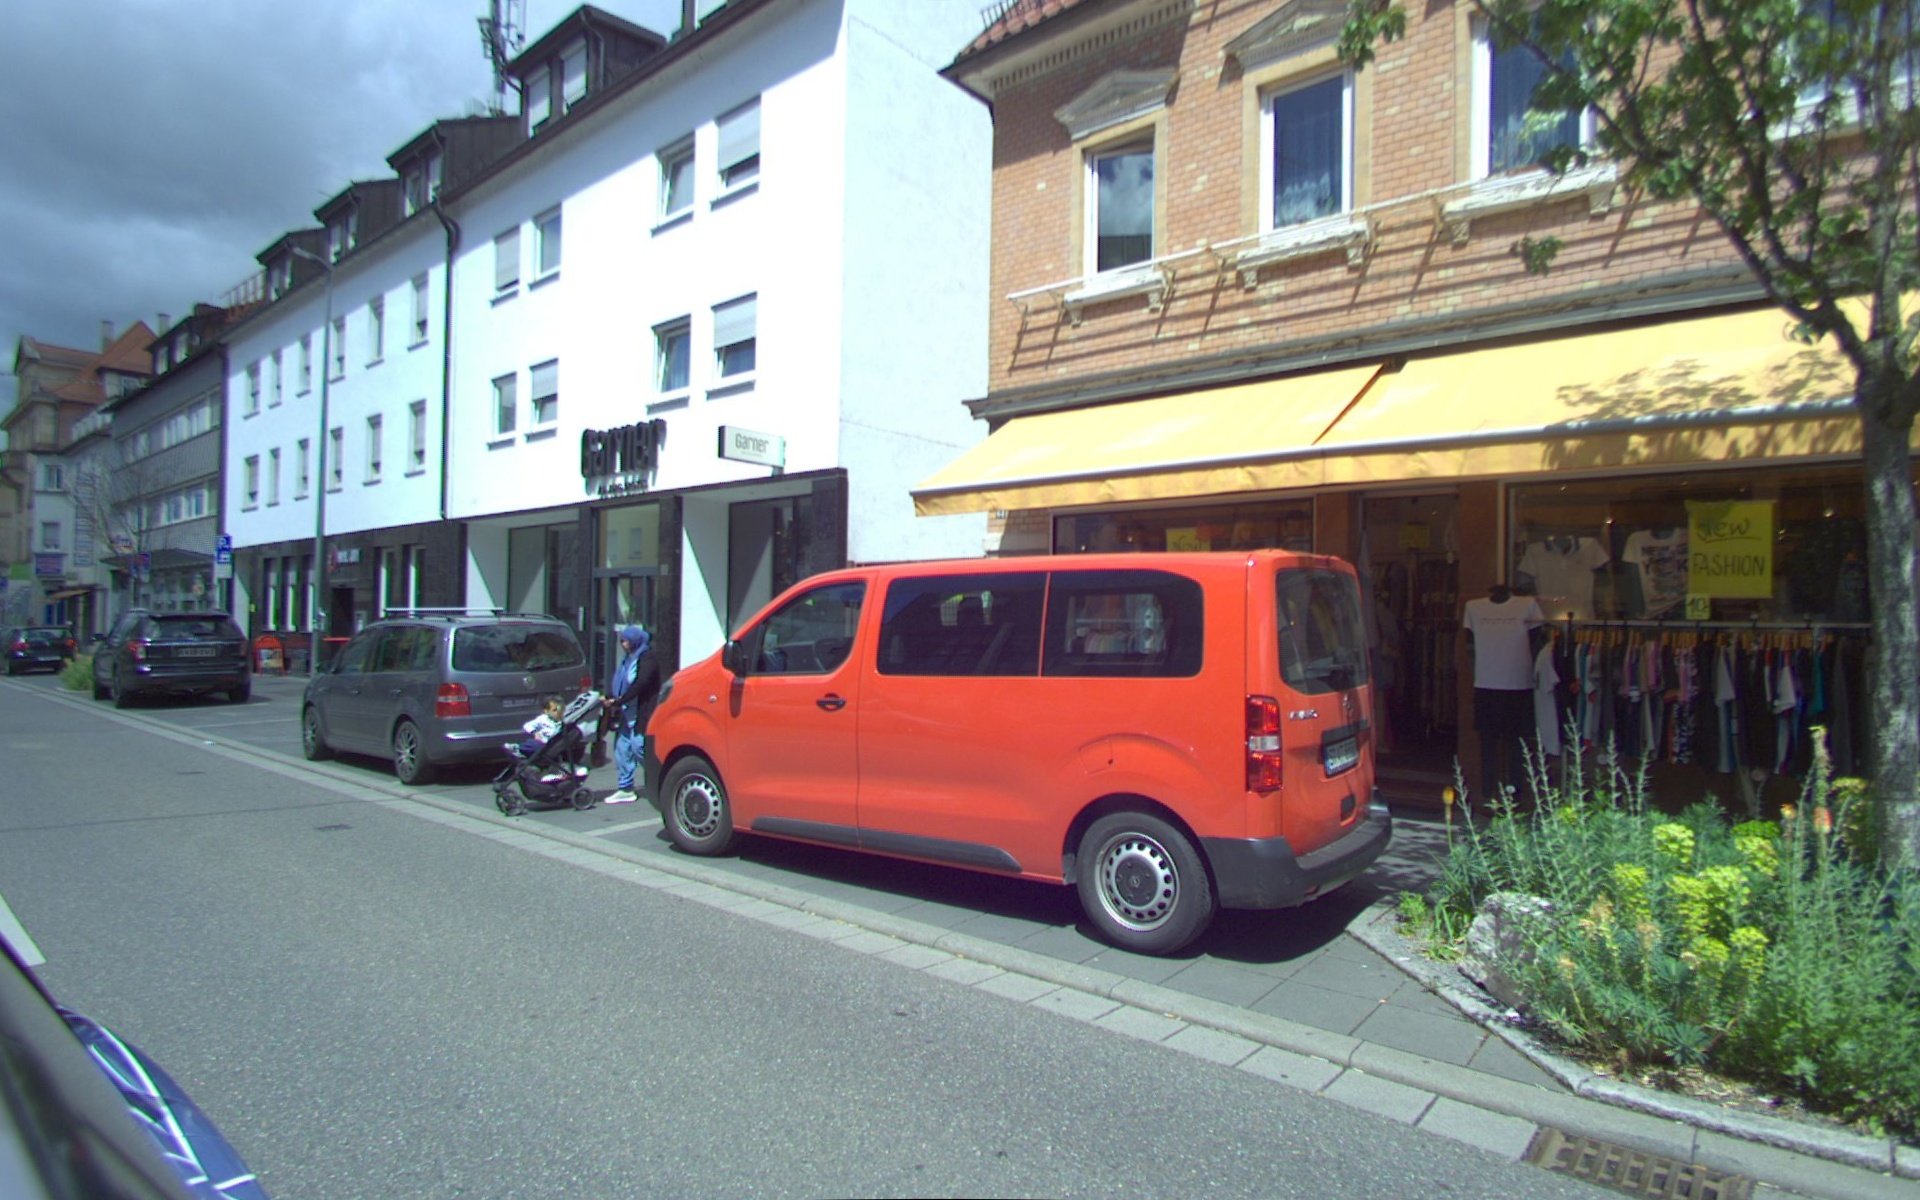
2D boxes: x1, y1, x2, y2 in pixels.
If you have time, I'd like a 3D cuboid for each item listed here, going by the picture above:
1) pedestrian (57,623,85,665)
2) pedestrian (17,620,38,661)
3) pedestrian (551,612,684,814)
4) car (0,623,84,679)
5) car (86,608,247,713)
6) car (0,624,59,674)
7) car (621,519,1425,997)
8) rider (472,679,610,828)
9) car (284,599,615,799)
[{"bbox_3d":[-35.347,1.720,40.236,0.650,1.630,0.725,0,0,36],"label":"pedestrian"},{"bbox_3d":[-40.677,1.754,44.139,0.728,1.770,0.543,0,0,38],"label":"pedestrian"},{"bbox_3d":[-2.897,0.899,8.567,0.779,1.586,0.797,0,0,43],"label":"pedestrian"},{"bbox_3d":[-28.190,1.496,30.732,4.175,1.515,1.772,-1,0,40],"label":"car"},{"bbox_3d":[-15.341,1.046,19.462,4.670,1.768,1.796,0,0,44],"label":"car"},{"bbox_3d":[-32.507,1.646,34.765,4.710,1.524,1.771,0,0,41],"label":"car"},{"bbox_3d":[0.064,0.637,6.261,4.835,1.903,1.798,0,0,39],"label":"car"},{"bbox_3d":[-3.327,1.182,8.037,0.707,1.021,0.795,0,0,43],"label":"rider"},{"bbox_3d":[-5.749,0.885,11.130,4.463,1.768,1.797,0,0,42],"label":"car"}]
